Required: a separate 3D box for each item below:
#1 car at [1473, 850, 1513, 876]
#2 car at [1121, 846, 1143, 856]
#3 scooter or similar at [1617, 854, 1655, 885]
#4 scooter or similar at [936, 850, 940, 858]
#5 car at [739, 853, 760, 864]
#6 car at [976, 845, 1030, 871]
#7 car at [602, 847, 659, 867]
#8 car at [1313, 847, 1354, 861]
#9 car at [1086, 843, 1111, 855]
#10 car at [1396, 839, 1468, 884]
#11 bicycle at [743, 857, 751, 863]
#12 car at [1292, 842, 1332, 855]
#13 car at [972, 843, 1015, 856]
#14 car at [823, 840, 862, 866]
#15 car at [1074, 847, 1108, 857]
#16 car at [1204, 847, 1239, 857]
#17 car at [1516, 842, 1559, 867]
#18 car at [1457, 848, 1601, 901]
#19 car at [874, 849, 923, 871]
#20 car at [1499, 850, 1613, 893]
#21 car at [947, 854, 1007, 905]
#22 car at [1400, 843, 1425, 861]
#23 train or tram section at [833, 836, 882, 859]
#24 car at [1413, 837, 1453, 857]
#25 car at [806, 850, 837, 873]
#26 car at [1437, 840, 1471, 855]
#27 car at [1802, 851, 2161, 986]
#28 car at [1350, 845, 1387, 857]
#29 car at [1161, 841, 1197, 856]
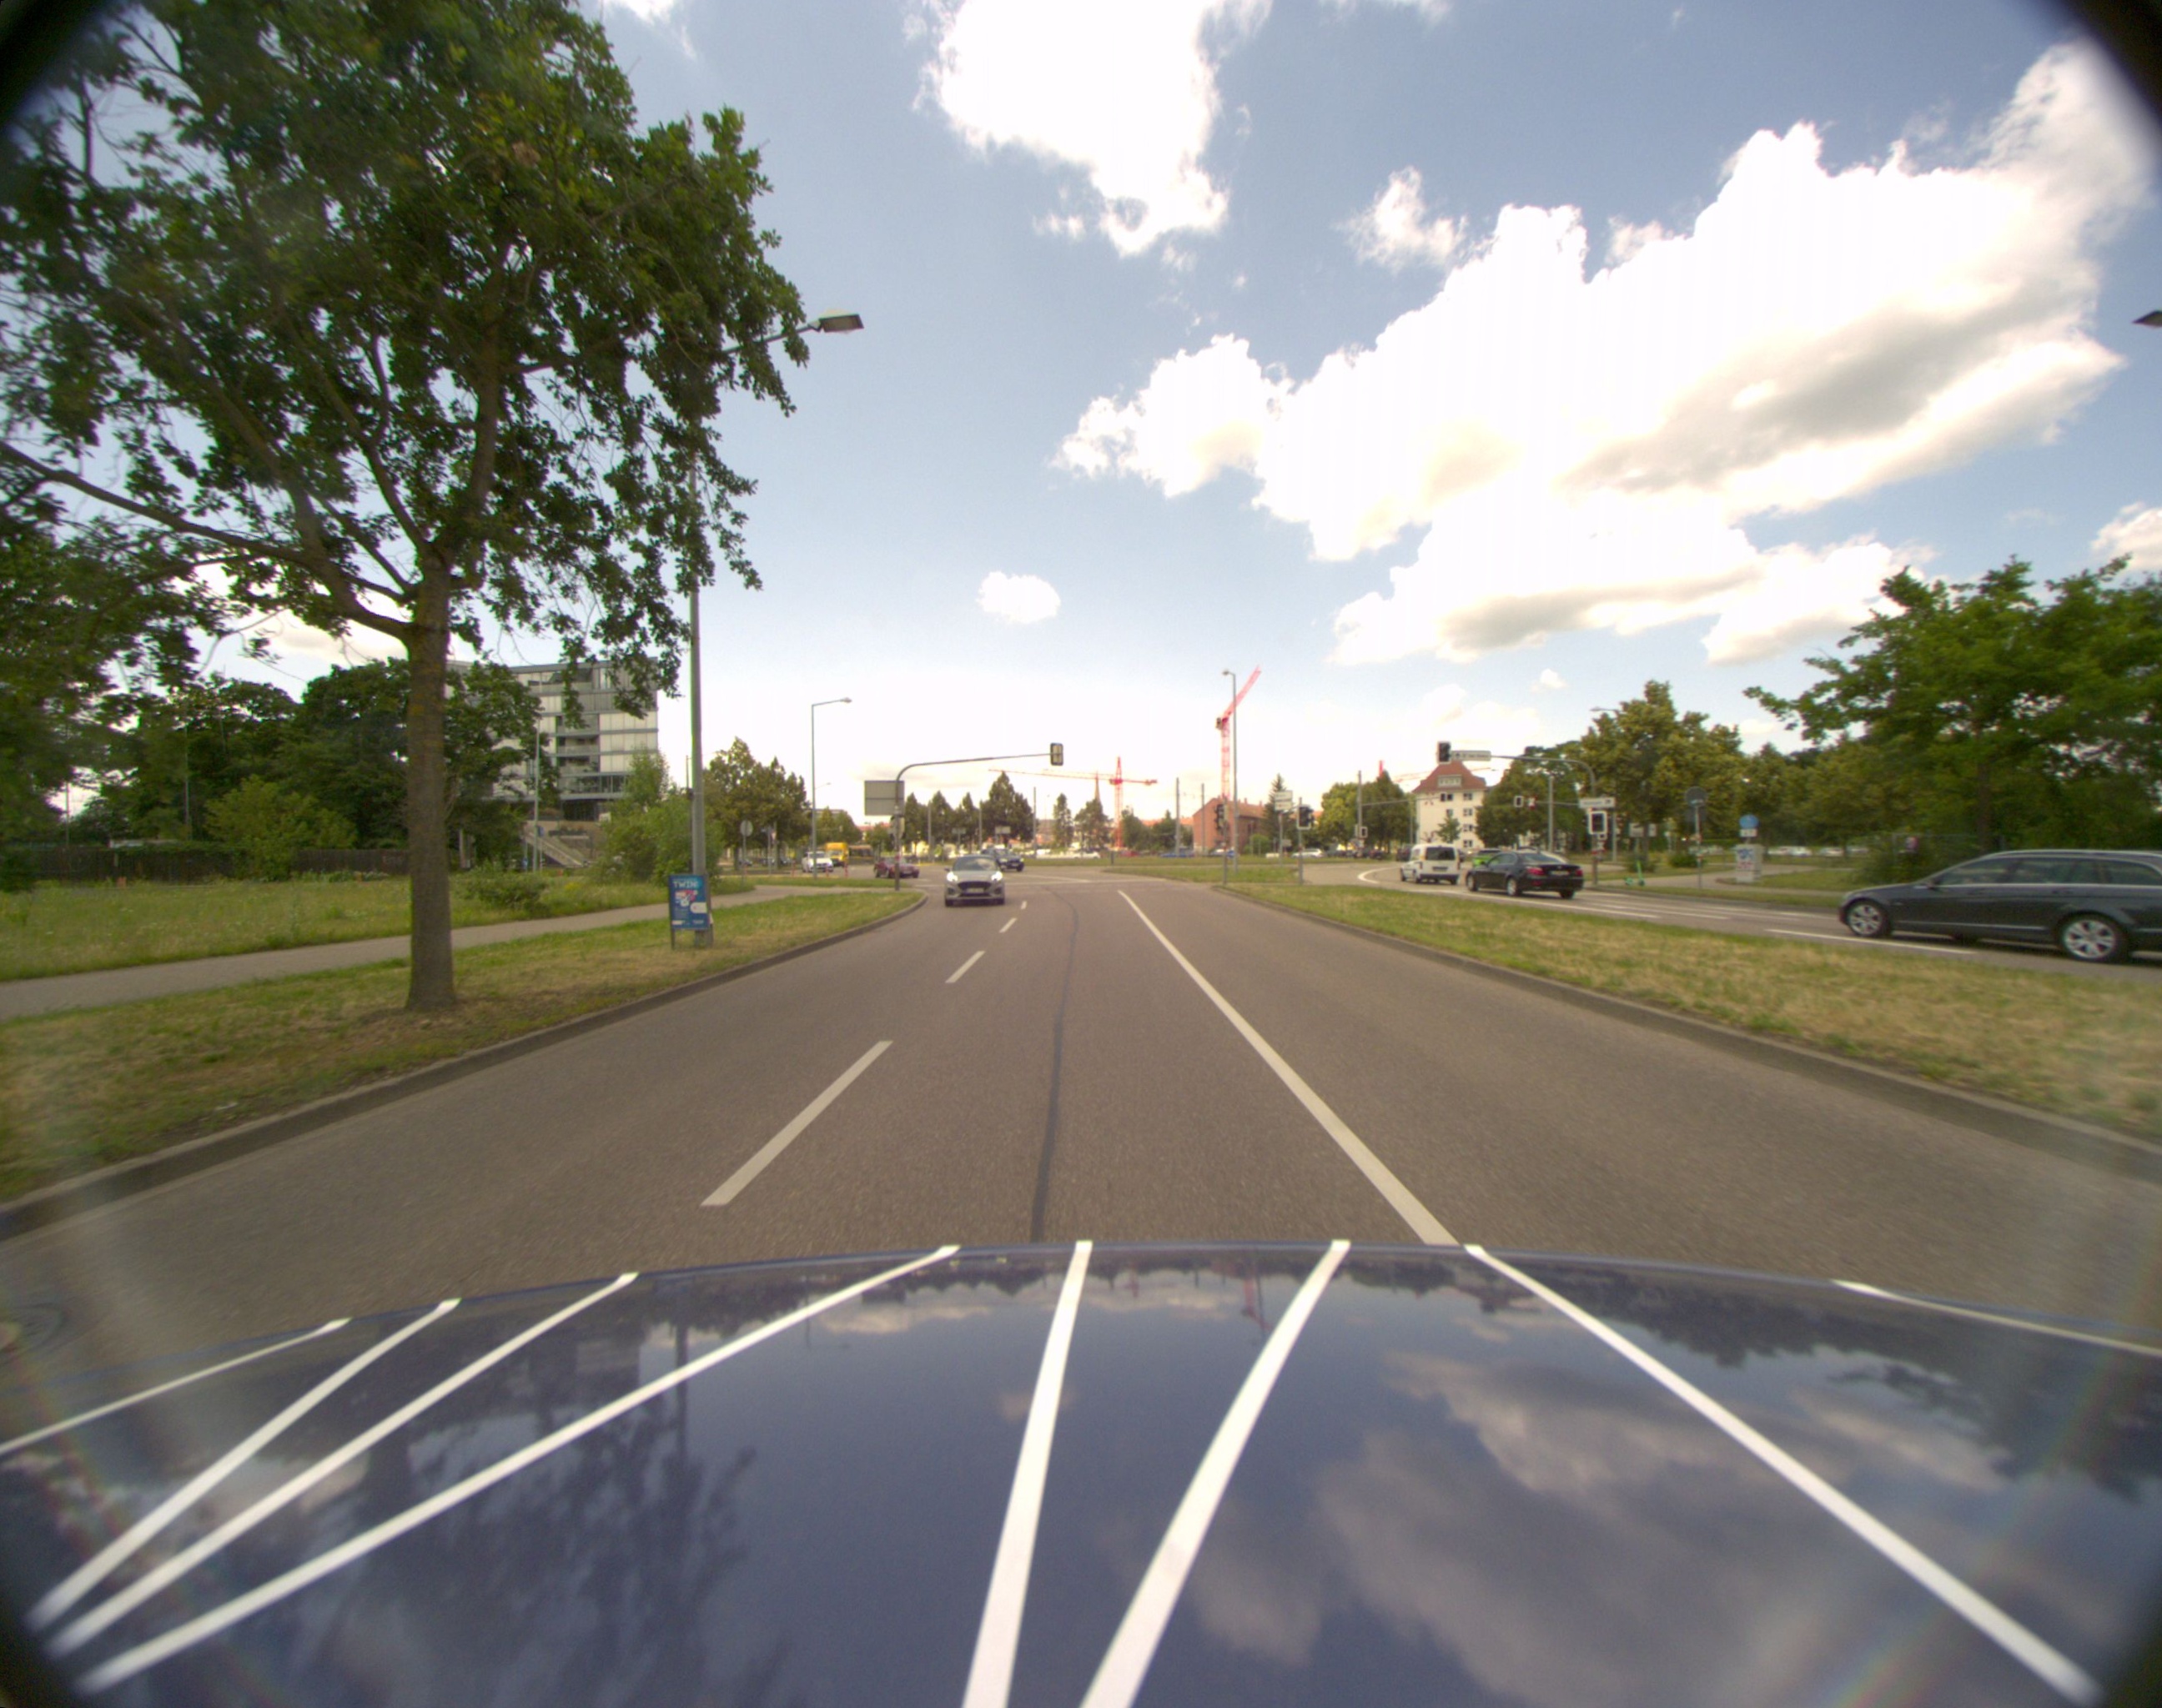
[{"bbox_3d":[23.104,0.454,42.542,1.616,1.340,4.179,2,1,32],"label":"car"},{"bbox_3d":[9.538,-0.554,143.013,2.090,1.841,5.175,-1,0,-22],"label":"car"},{"bbox_3d":[21.715,0.585,29.743,0.541,1.159,1.441,-1,1,5],"label":"scooter or similar"},{"bbox_3d":[-22.539,-0.001,120.019,0.419,1.295,1.343,-1,3,-21],"label":"scooter or similar"},{"bbox_3d":[-56.094,0.739,128.595,2.003,1.681,4.283,-4,3,-40],"label":"car"},{"bbox_3d":[-5.302,0.233,51.388,1.778,1.590,4.116,-4,3,-35],"label":"car"},{"bbox_3d":[-51.994,0.355,87.759,2.143,2.135,5.161,-1,1,30],"label":"car"},{"bbox_3d":[32.678,0.008,98.505,2.129,1.810,4.649,-1,0,-41],"label":"car"},{"bbox_3d":[3.201,-0.930,139.607,2.396,2.185,6.828,-1,0,-17],"label":"car"},{"bbox_3d":[15.254,0.277,33.320,1.840,1.789,4.792,1,1,12],"label":"car"},{"bbox_3d":[-43.588,0.758,99.130,1.469,0.821,0.359,-1,1,43],"label":"bicycle"},{"bbox_3d":[29.289,-0.650,96.428,2.128,1.513,4.495,-1,0,-38],"label":"car"},{"bbox_3d":[-11.228,-0.584,97.552,5.075,1.665,1.997,-1,0,-19],"label":"car"},{"bbox_3d":[-26.627,-0.138,85.035,2.284,2.837,7.253,0,1,-3],"label":"car"},{"bbox_3d":[1.333,-0.295,102.568,4.309,1.322,1.999,-1,0,-4],"label":"car"},{"bbox_3d":[19.173,-0.271,103.687,4.482,1.315,1.956,-1,0,16],"label":"car"},{"bbox_3d":[32.389,0.013,53.827,1.994,1.677,4.797,0,1,38],"label":"car"},{"bbox_3d":[14.210,0.585,24.470,1.842,1.471,4.752,1,1,1],"label":"car"},{"bbox_3d":[-10.770,0.326,44.571,1.678,1.254,4.082,-1,1,-30],"label":"car"},{"bbox_3d":[17.936,0.606,28.968,1.842,1.435,4.420,1,1,5],"label":"car"},{"bbox_3d":[-3.259,0.742,24.362,1.674,1.462,4.090,0,1,-5],"label":"car"},{"bbox_3d":[31.054,-0.175,71.137,1.909,1.583,4.599,0,1,26],"label":"car"},{"bbox_3d":[-39.404,-1.061,133.520,2.857,3.718,13.439,-2,1,-41],"label":"train or tram section"},{"bbox_3d":[37.569,-0.764,81.300,1.999,2.002,4.787,-1,1,0],"label":"car"},{"bbox_3d":[-19.988,0.534,58.473,1.677,1.590,4.118,-3,2,-26],"label":"car"},{"bbox_3d":[35.124,-0.618,71.680,1.908,1.415,4.194,-1,1,11],"label":"car"},{"bbox_3d":[13.661,0.756,10.974,1.726,1.581,5.012,0,1,0],"label":"car"},{"bbox_3d":[33.525,-0.346,88.692,1.804,1.332,3.972,1,0,-19],"label":"car"},{"bbox_3d":[13.040,-0.734,101.416,4.398,1.788,1.759,-1,0,22],"label":"car"}]
